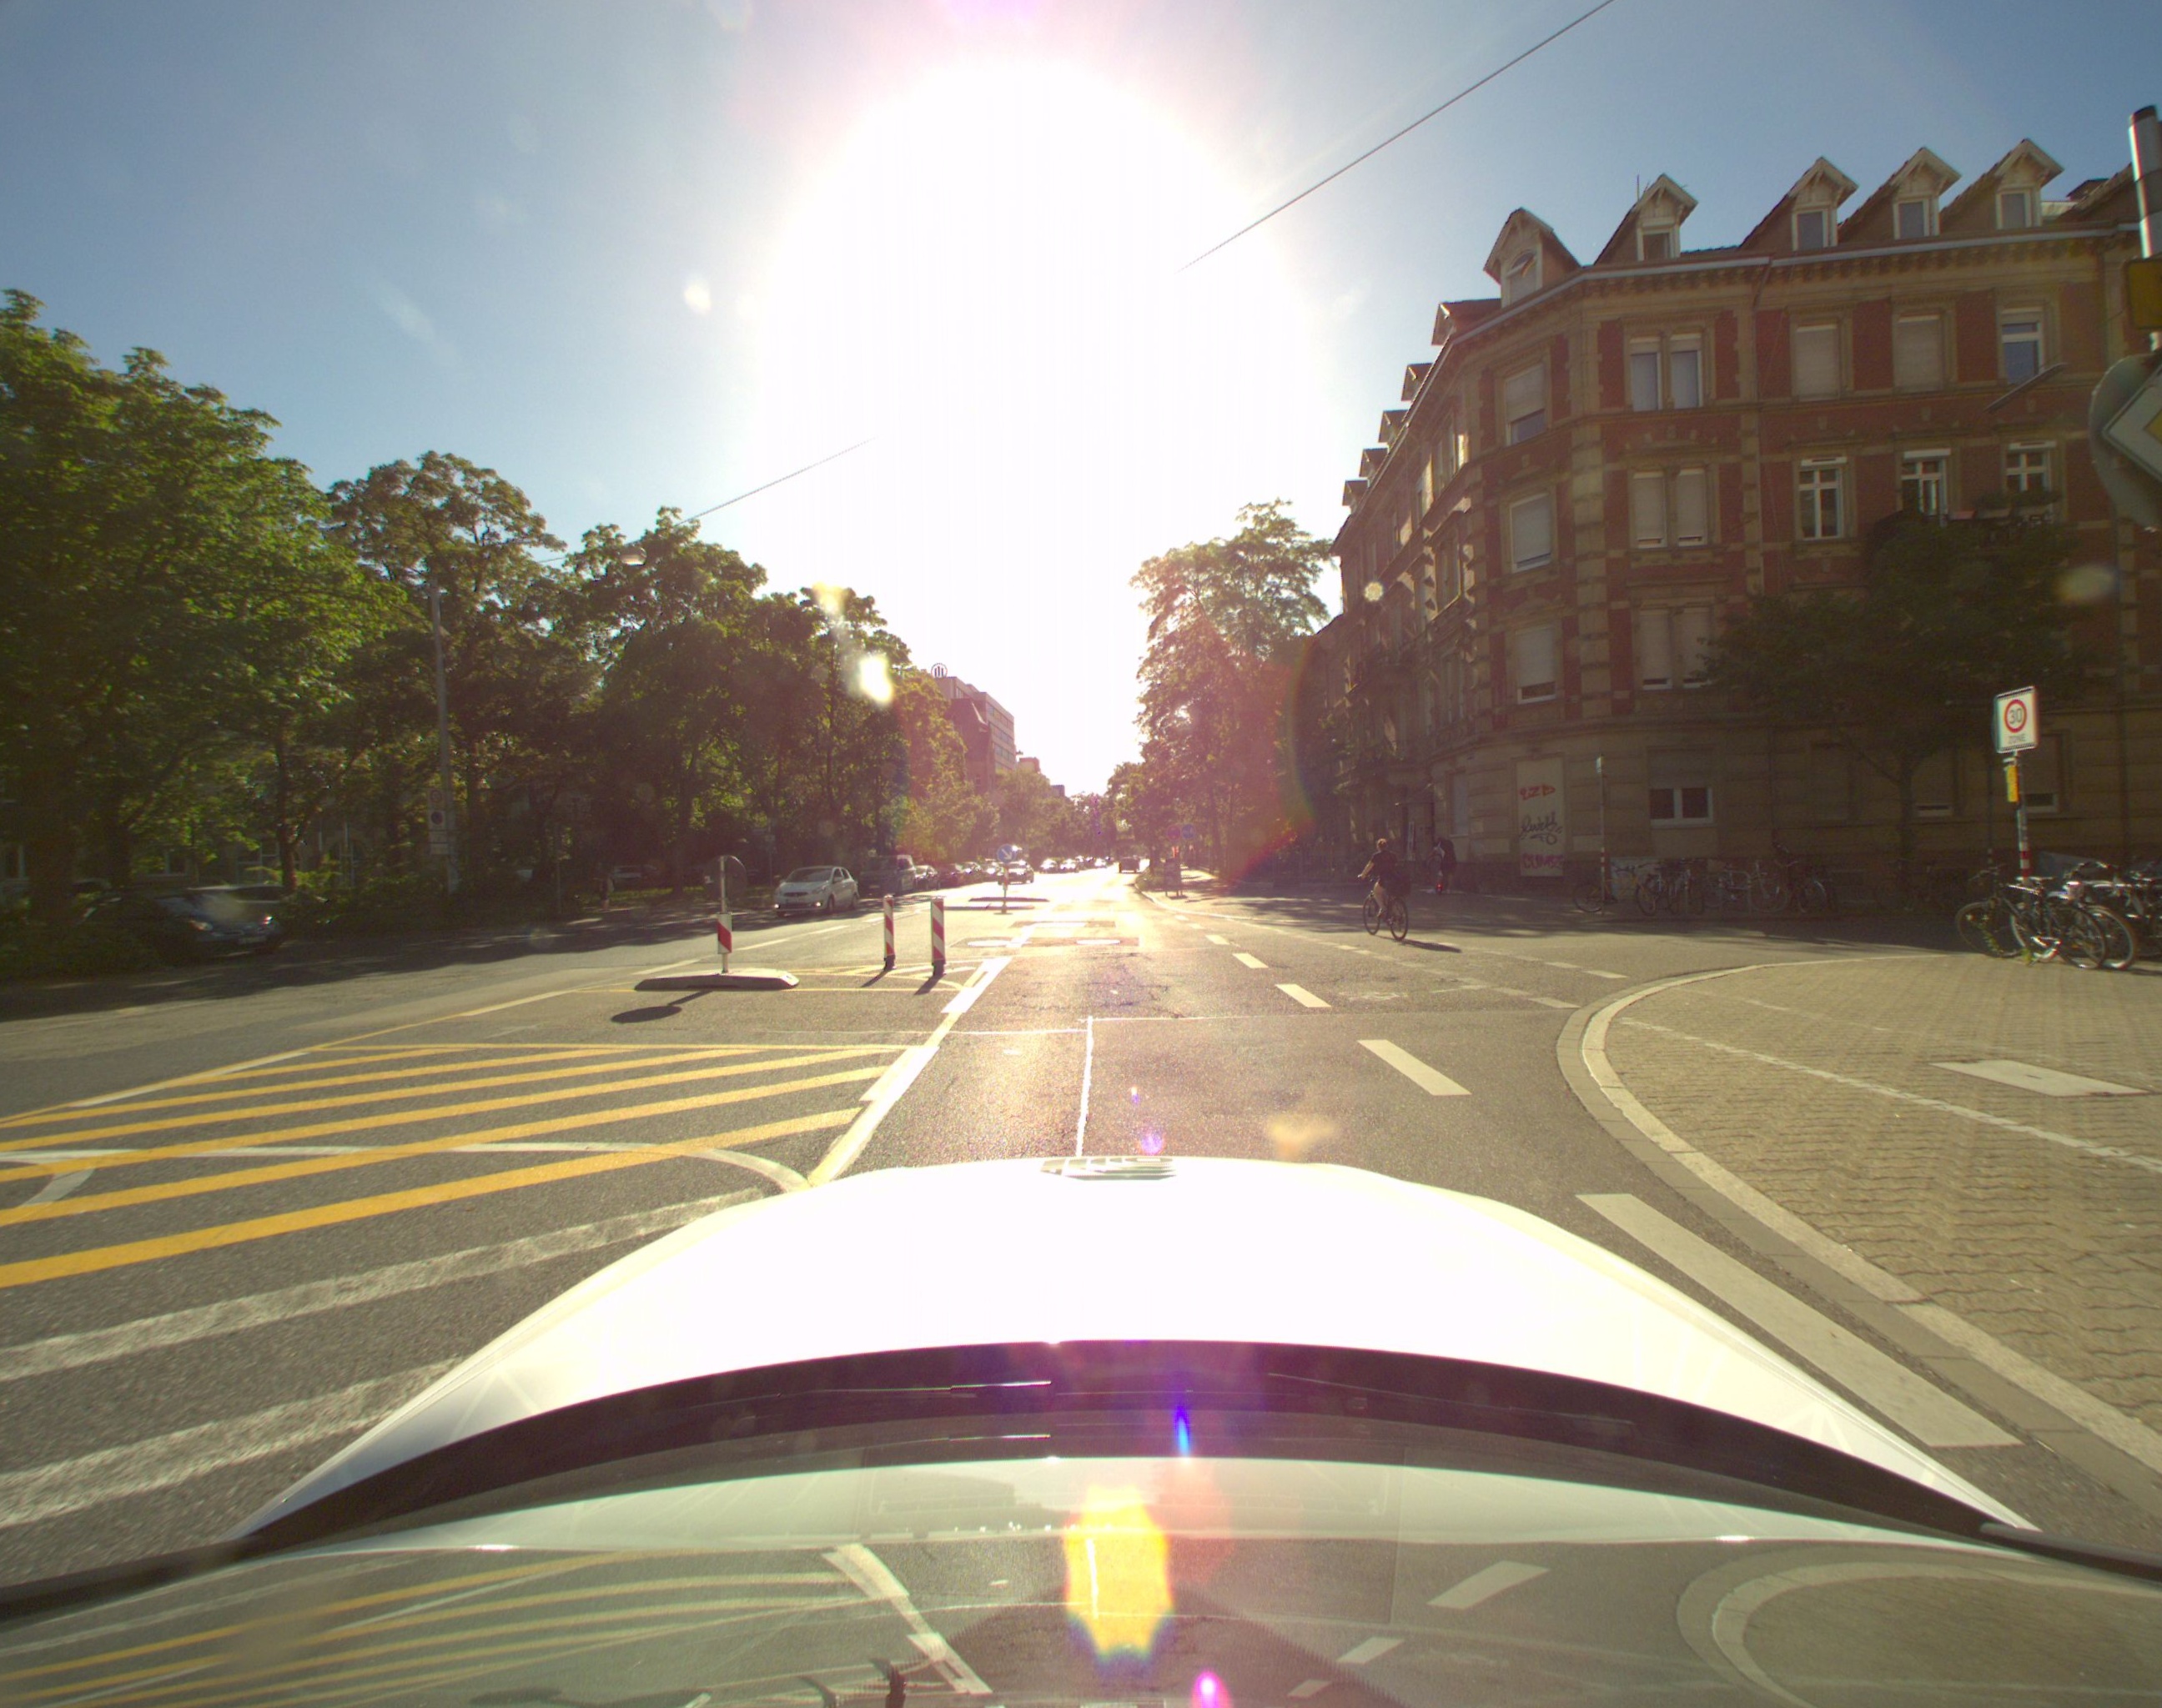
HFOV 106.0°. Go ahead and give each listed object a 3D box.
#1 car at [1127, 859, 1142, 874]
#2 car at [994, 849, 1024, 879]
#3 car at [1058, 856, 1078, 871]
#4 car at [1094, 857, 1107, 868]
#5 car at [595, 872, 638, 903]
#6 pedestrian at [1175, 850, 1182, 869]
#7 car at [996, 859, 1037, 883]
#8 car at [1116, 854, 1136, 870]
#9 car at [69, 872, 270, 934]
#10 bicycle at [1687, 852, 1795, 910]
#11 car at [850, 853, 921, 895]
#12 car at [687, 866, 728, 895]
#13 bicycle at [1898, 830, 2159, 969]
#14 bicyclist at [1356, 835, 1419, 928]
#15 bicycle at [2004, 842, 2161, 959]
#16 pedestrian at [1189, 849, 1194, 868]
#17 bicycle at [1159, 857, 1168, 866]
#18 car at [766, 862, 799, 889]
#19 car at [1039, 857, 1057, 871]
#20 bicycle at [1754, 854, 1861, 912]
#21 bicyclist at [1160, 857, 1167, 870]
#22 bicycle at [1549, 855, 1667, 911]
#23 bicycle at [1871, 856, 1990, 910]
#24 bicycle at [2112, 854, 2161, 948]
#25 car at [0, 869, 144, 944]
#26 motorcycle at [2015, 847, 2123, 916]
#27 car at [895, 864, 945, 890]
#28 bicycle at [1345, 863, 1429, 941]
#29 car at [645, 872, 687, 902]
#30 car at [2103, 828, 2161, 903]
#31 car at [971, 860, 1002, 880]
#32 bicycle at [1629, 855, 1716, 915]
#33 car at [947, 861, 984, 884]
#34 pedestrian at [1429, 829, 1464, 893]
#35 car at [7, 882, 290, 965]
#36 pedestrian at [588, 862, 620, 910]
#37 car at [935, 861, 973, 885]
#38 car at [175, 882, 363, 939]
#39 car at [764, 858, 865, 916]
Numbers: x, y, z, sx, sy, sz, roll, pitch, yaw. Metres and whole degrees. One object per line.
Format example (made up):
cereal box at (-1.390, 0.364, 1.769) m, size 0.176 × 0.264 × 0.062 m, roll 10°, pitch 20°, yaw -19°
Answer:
car at (6.576, 1.516, 100.035) m, size 1.811 × 1.740 × 4.005 m, roll -1°, pitch 0°, yaw 4°
car at (-6.513, 0.861, 73.926) m, size 1.818 × 2.651 × 5.167 m, roll -2°, pitch 0°, yaw 4°
car at (-1.385, 1.037, 87.955) m, size 1.629 × 1.519 × 4.039 m, roll -2°, pitch 0°, yaw 8°
car at (3.003, 1.309, 125.498) m, size 1.928 × 1.519 × 4.030 m, roll -1°, pitch -3°, yaw 1°
car at (-28.045, 1.985, 49.106) m, size 1.989 × 1.662 × 3.959 m, roll -2°, pitch 0°, yaw -33°
pedestrian at (10.639, 0.617, 88.581) m, size 0.612 × 2.013 × 0.681 m, roll -2°, pitch 0°, yaw 1°
car at (-4.171, 1.090, 53.105) m, size 1.774 × 1.460 × 4.424 m, roll -1°, pitch -1°, yaw 8°
car at (4.568, 0.798, 82.840) m, size 1.888 × 1.519 × 4.001 m, roll 1°, pitch 1°, yaw 1°
car at (-28.792, 1.485, 25.957) m, size 1.839 × 1.653 × 4.000 m, roll 0°, pitch 1°, yaw 0°
bicycle at (13.839, 0.545, 17.155) m, size 0.723 × 1.131 × 2.035 m, roll -2°, pitch 0°, yaw 5°
car at (-9.770, 0.943, 41.104) m, size 2.190 × 1.929 × 4.865 m, roll -2°, pitch 0°, yaw 3°
car at (-23.424, 1.601, 51.044) m, size 1.987 × 1.662 × 3.962 m, roll -2°, pitch 0°, yaw -30°
bicycle at (10.658, 0.459, 9.302) m, size 0.576 × 1.397 × 2.068 m, roll -2°, pitch 0°, yaw 2°
bicyclist at (5.405, 0.455, 14.423) m, size 0.739 × 1.580 × 1.101 m, roll -1°, pitch 1°, yaw 2°
bicycle at (11.741, 0.493, 9.081) m, size 0.576 × 1.235 × 2.068 m, roll -2°, pitch 0°, yaw 2°
pedestrian at (11.850, 0.473, 87.192) m, size 0.474 × 2.014 × 0.492 m, roll 0°, pitch -3°, yaw 1°
bicycle at (8.851, 0.778, 87.468) m, size 0.673 × 0.938 × 2.281 m, roll -2°, pitch -2°, yaw 1°
car at (-19.910, 1.387, 54.409) m, size 1.982 × 1.662 × 3.973 m, roll -1°, pitch 0°, yaw -20°
car at (-3.819, 1.118, 94.849) m, size 1.795 × 1.504 × 3.809 m, roll -2°, pitch 0°, yaw 2°
bicycle at (15.190, 0.568, 17.104) m, size 0.557 × 1.131 × 2.035 m, roll -2°, pitch 0°, yaw 5°
bicyclist at (8.859, 0.993, 87.516) m, size 0.678 × 1.327 × 0.636 m, roll 0°, pitch -3°, yaw 0°
bicycle at (10.998, 0.593, 17.052) m, size 0.699 × 1.095 × 1.947 m, roll -1°, pitch 0°, yaw -43°
bicycle at (17.171, 0.582, 16.478) m, size 1.827 × 0.989 × 0.561 m, roll -2°, pitch 4°, yaw -2°
bicycle at (12.938, 0.551, 8.964) m, size 0.576 × 1.095 × 2.068 m, roll -2°, pitch 0°, yaw 2°
car at (-34.542, 1.722, 26.625) m, size 1.839 × 2.324 × 4.984 m, roll 0°, pitch -3°, yaw 1°
motorcycle at (20.001, 0.575, 16.550) m, size 0.987 × 1.285 × 2.428 m, roll -3°, pitch -4°, yaw 42°
car at (-9.100, 1.327, 46.348) m, size 1.705 × 1.353 × 4.004 m, roll -1°, pitch -3°, yaw 5°
bicycle at (5.400, 0.805, 14.483) m, size 0.738 × 1.219 × 1.961 m, roll -4°, pitch 0°, yaw 2°
car at (-25.542, 1.963, 50.017) m, size 1.988 × 1.662 × 3.960 m, roll -2°, pitch 0°, yaw -31°
car at (22.772, 0.203, 15.986) m, size 3.225 × 1.468 × 1.567 m, roll -1°, pitch 0°, yaw 6°
car at (-7.153, 1.182, 62.124) m, size 1.515 × 1.432 × 3.344 m, roll -2°, pitch 0°, yaw 8°
bicycle at (12.434, 0.614, 17.186) m, size 0.575 × 1.094 × 1.975 m, roll 0°, pitch 3°, yaw 6°
car at (-8.039, 1.267, 57.093) m, size 1.514 × 1.432 × 3.563 m, roll -2°, pitch 0°, yaw 9°
pedestrian at (10.543, 0.211, 23.523) m, size 0.652 × 1.816 × 0.752 m, roll -1°, pitch -3°, yaw 5°
car at (-19.333, 1.419, 17.003) m, size 3.967 × 1.469 × 1.814 m, roll -1°, pitch 3°, yaw 5°
pedestrian at (-16.722, 1.109, 28.549) m, size 0.662 × 1.626 × 0.720 m, roll -1°, pitch 0°, yaw 33°
car at (-8.037, 1.229, 51.696) m, size 1.515 × 1.433 × 3.343 m, roll -1°, pitch -3°, yaw 8°
car at (-25.597, 1.761, 25.900) m, size 1.839 × 1.654 × 3.999 m, roll -1°, pitch -3°, yaw 1°
car at (-8.179, 0.950, 25.369) m, size 1.753 × 1.519 × 3.859 m, roll -3°, pitch 1°, yaw 0°
